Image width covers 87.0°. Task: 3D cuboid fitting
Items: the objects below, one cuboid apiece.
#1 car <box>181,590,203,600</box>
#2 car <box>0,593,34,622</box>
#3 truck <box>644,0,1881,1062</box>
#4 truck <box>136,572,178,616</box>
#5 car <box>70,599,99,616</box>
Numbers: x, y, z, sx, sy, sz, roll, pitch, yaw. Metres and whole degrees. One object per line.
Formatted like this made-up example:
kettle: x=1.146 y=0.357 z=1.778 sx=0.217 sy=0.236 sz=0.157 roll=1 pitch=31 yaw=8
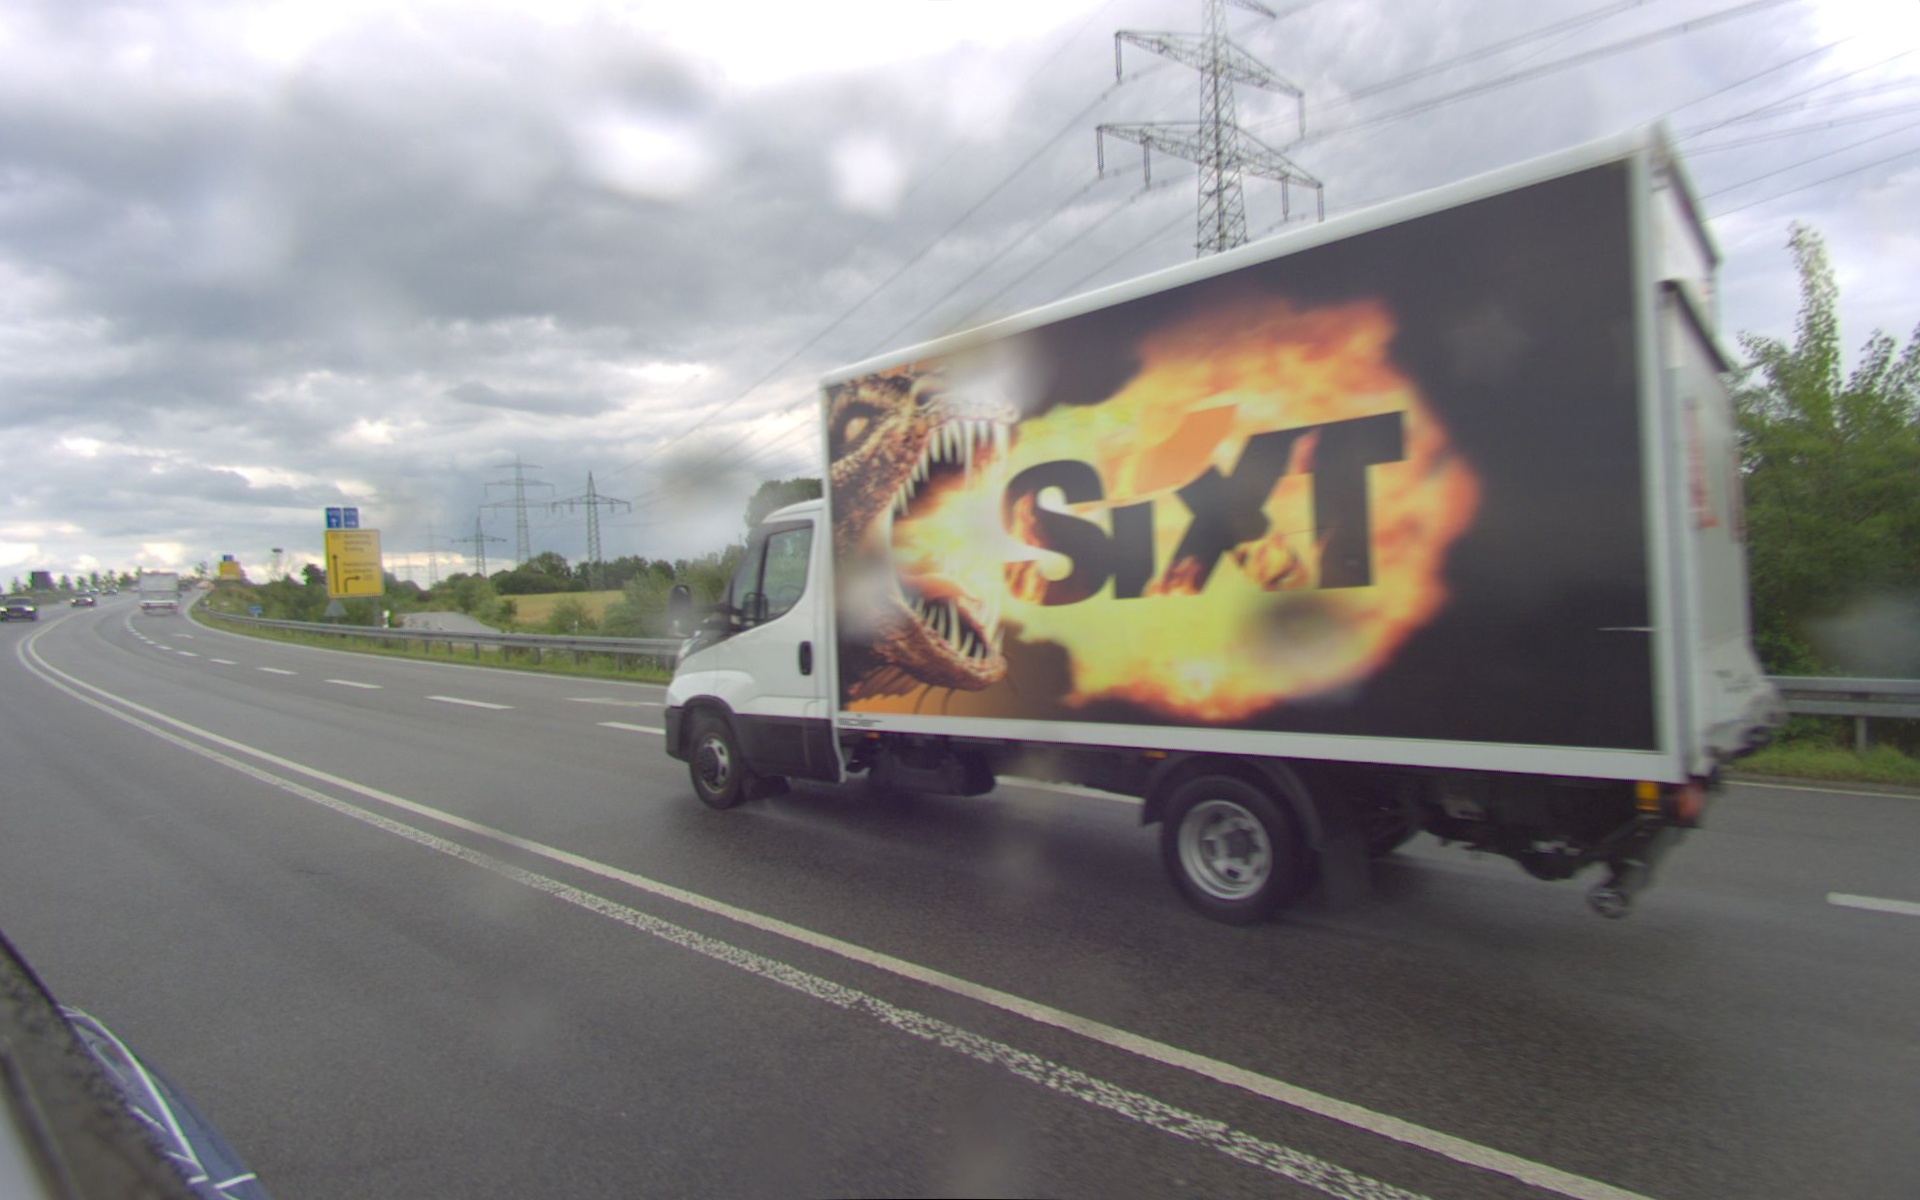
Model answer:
car: x=-116.116 y=-0.818 z=153.006 sx=1.869 sy=1.452 sz=4.916 roll=0 pitch=1 yaw=-28
car: x=-64.222 y=0.515 z=68.709 sx=1.769 sy=1.782 sz=4.006 roll=-3 pitch=1 yaw=-40
truck: x=0.904 y=-0.218 z=6.025 sx=6.688 sy=3.180 sz=2.232 roll=-1 pitch=-1 yaw=42
truck: x=-62.842 y=-0.388 z=79.212 sx=2.449 sy=3.317 sz=7.294 roll=0 pitch=-1 yaw=-38
car: x=-88.404 y=0.764 z=102.203 sx=1.721 sy=1.508 sz=4.060 roll=-3 pitch=1 yaw=-35
